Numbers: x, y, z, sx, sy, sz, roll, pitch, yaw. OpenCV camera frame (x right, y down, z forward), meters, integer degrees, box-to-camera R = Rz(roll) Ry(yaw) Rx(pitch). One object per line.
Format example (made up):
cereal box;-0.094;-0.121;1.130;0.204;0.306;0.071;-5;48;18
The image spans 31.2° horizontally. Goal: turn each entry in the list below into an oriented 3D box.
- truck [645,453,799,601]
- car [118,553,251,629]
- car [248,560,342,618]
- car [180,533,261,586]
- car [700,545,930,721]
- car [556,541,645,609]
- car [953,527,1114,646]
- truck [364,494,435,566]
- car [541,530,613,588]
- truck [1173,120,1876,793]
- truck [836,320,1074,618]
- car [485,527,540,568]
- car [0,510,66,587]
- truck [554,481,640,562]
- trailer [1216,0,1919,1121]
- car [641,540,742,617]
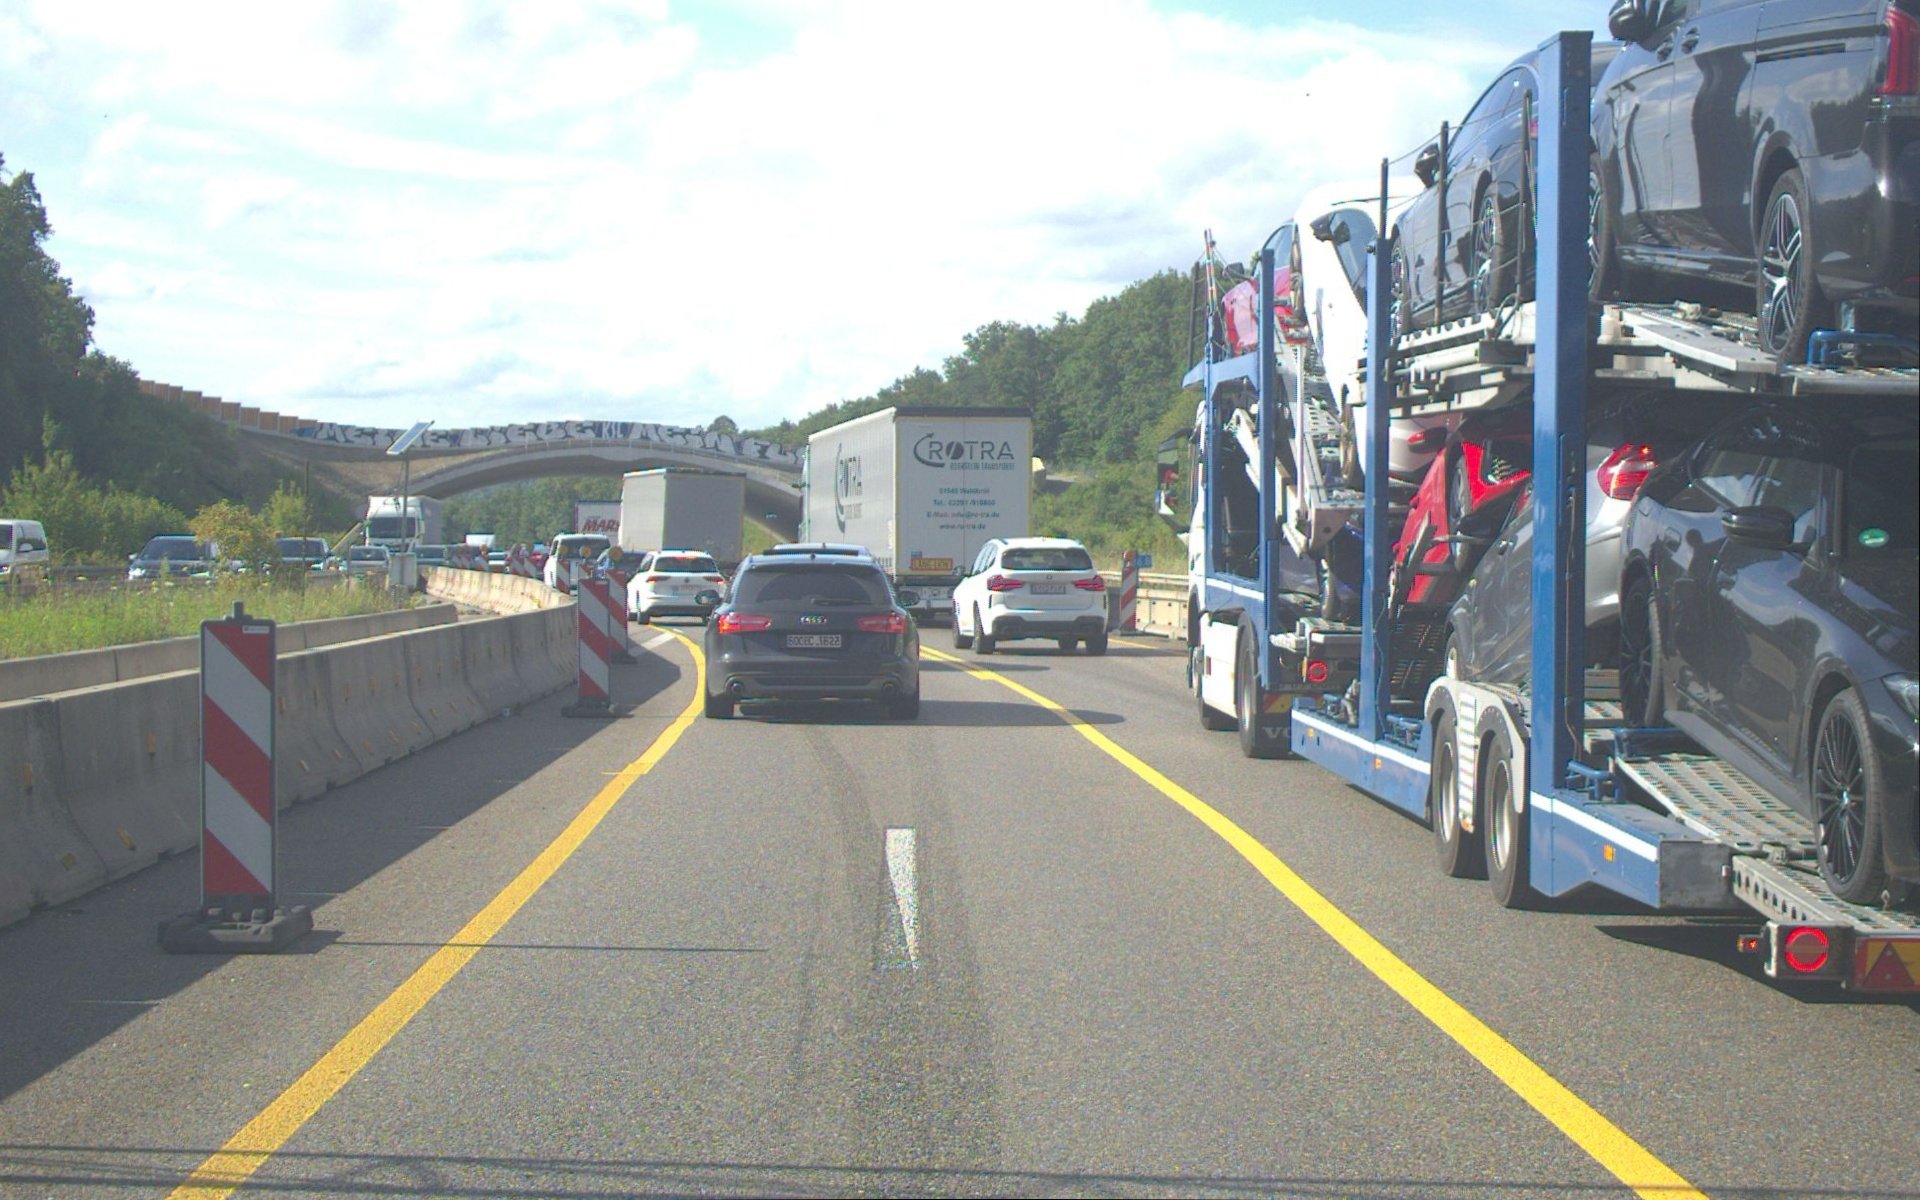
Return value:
truck;-8.010;-2.393;113.882;4.318;4.584;11.127;1;1;-8
car;-17.239;-0.218;76.624;1.968;1.597;4.948;1;1;-2
car;-19.240;-0.347;99.639;1.968;1.597;4.948;1;1;-3
car;-23.254;-1.291;108.262;1.968;1.597;4.948;1;1;-6
car;-1.283;0.244;30.549;1.890;1.441;4.001;1;1;-2
car;-8.933;-0.640;85.201;1.890;1.637;4.019;1;1;-10
car;1.025;-0.222;50.049;1.890;1.637;4.018;1;1;-5
truck;-26.443;-3.308;162.320;2.756;3.287;5.814;1;1;-4
car;-11.244;-1.224;100.791;1.890;1.637;4.019;1;1;-9
truck;3.803;-0.962;25.620;3.761;4.182;7.951;1;1;-1
truck;-0.377;-2.500;70.360;3.677;5.335;16.204;1;1;-4
car;-17.954;-2.095;137.745;1.777;1.597;4.019;1;1;-13
car;-20.855;-1.124;74.171;1.968;1.597;4.948;1;1;-2
truck;-18.333;-3.914;173.141;3.653;3.915;11.070;1;1;-9
trailer;3.885;-0.829;17.140;3.726;4.182;16.228;1;1;-1
car;-5.349;-0.444;68.117;1.890;1.441;4.001;1;1;-6
